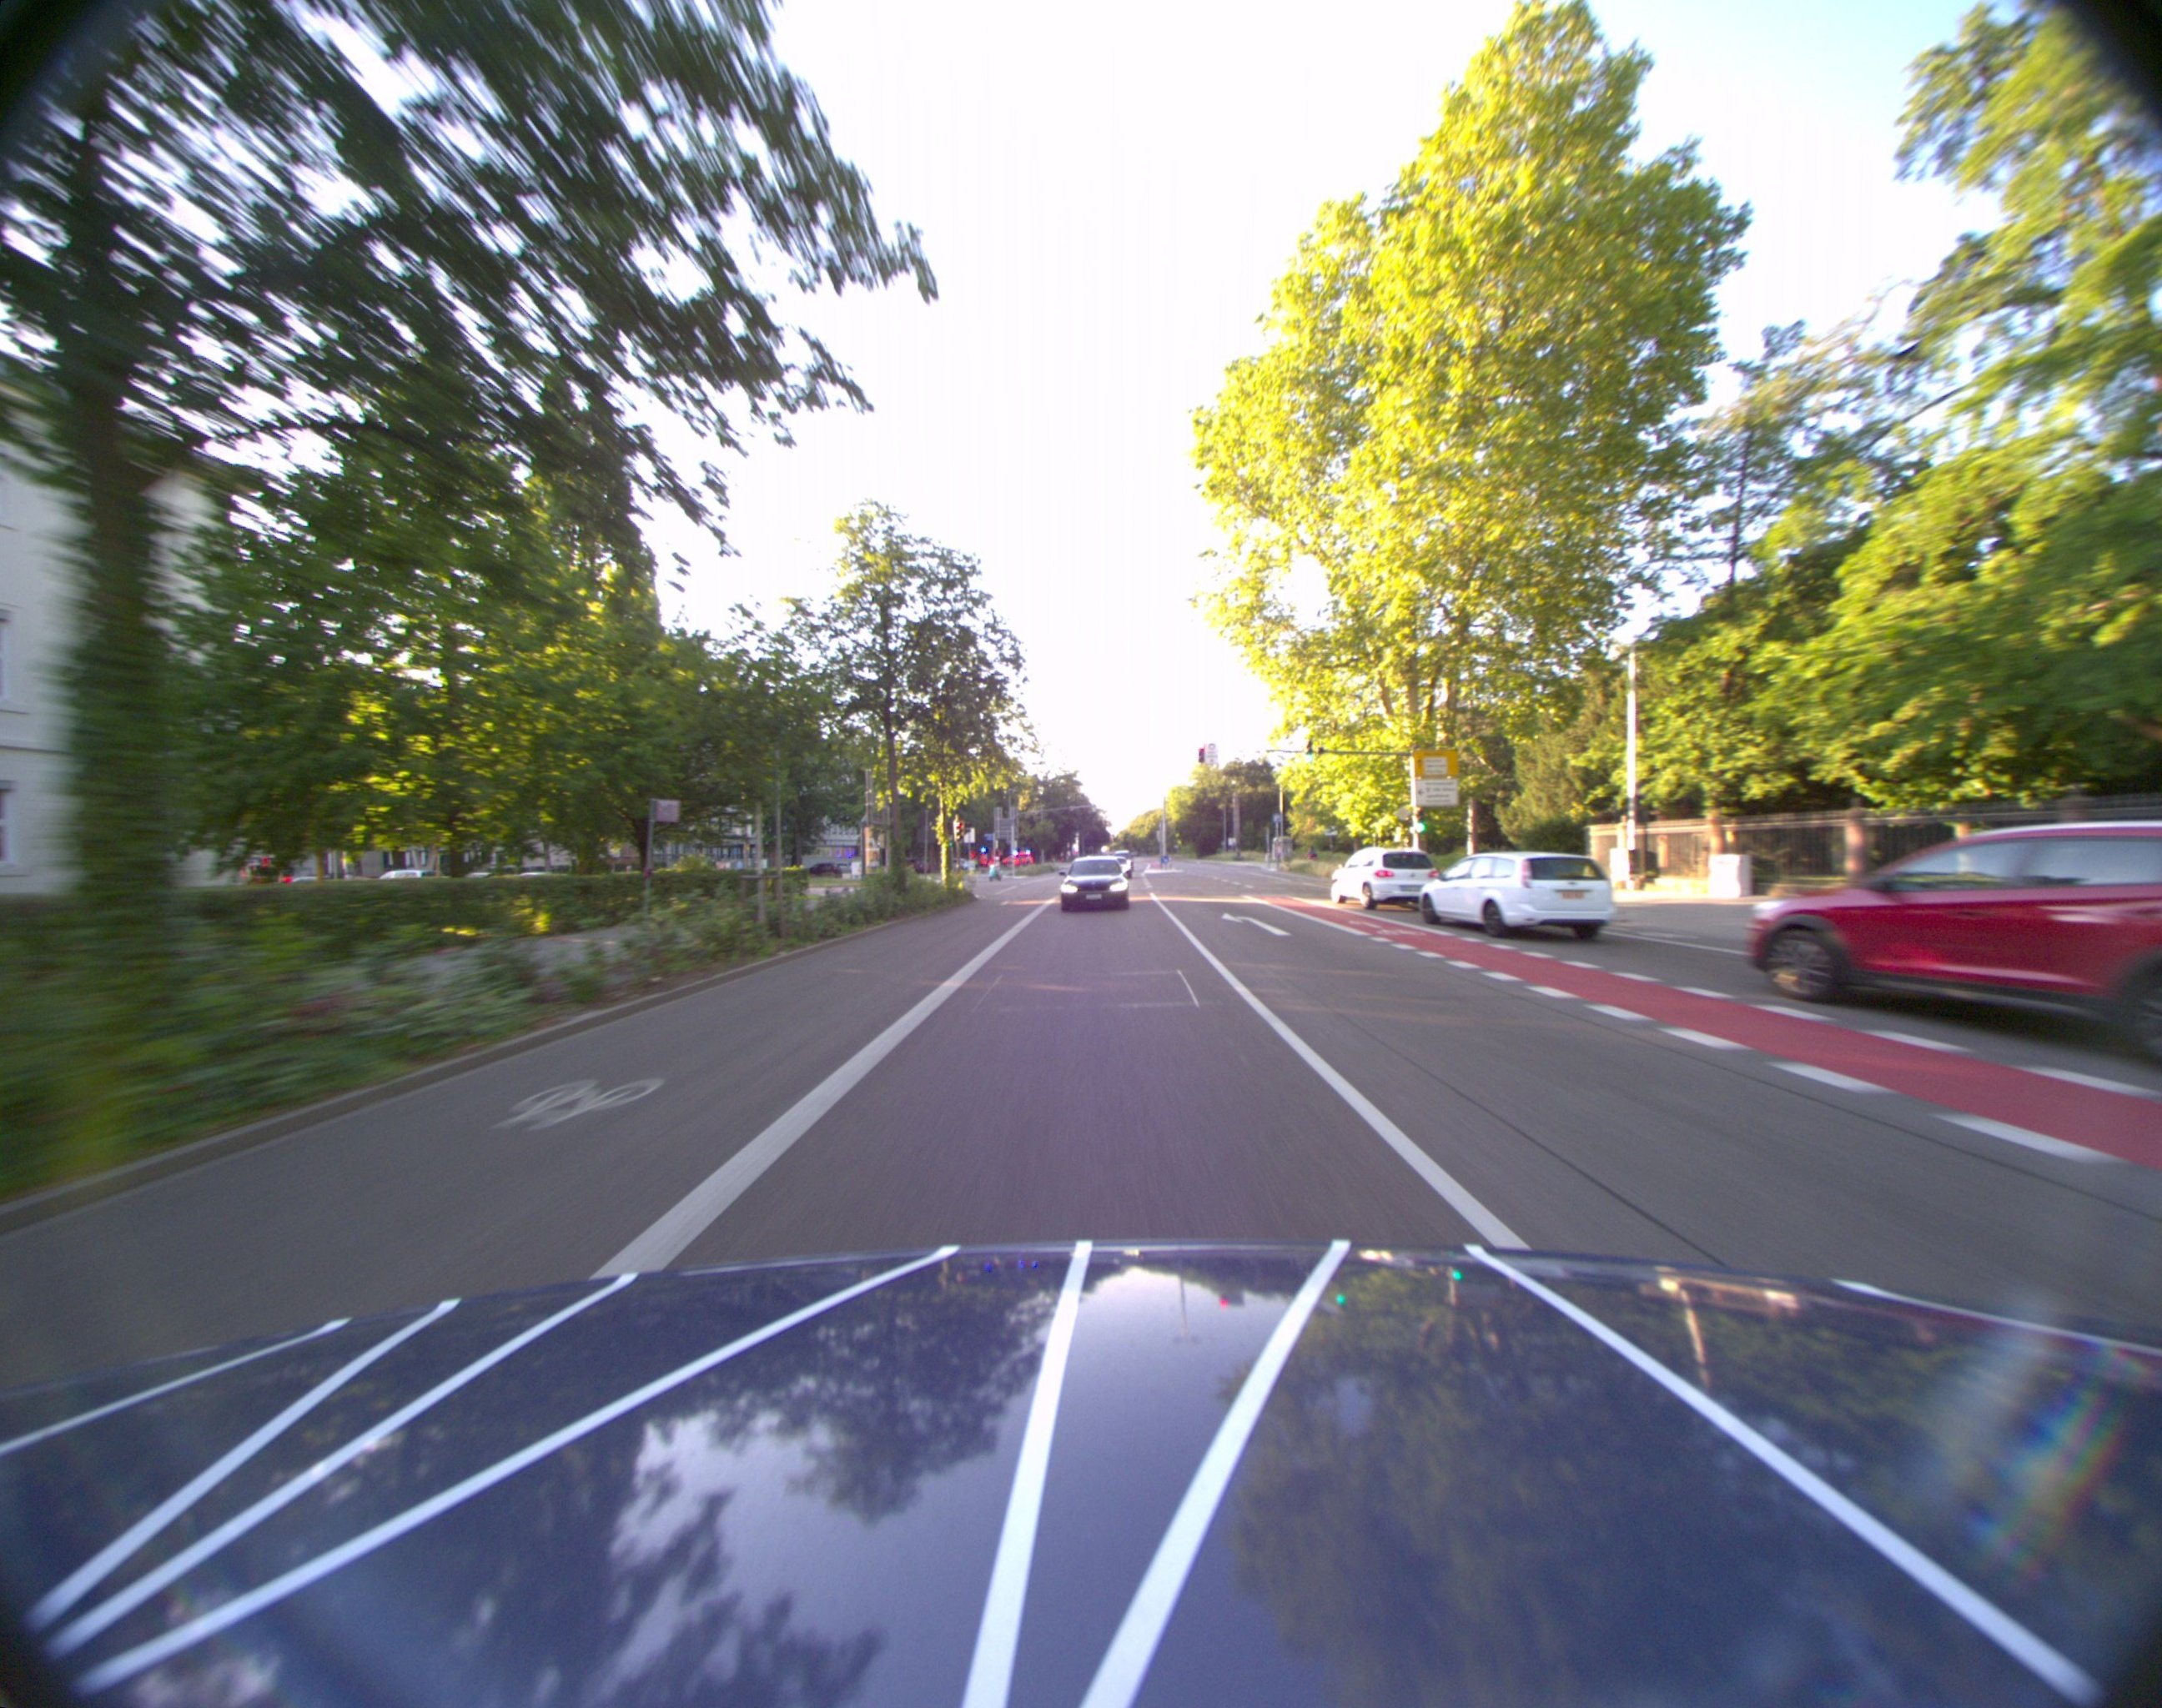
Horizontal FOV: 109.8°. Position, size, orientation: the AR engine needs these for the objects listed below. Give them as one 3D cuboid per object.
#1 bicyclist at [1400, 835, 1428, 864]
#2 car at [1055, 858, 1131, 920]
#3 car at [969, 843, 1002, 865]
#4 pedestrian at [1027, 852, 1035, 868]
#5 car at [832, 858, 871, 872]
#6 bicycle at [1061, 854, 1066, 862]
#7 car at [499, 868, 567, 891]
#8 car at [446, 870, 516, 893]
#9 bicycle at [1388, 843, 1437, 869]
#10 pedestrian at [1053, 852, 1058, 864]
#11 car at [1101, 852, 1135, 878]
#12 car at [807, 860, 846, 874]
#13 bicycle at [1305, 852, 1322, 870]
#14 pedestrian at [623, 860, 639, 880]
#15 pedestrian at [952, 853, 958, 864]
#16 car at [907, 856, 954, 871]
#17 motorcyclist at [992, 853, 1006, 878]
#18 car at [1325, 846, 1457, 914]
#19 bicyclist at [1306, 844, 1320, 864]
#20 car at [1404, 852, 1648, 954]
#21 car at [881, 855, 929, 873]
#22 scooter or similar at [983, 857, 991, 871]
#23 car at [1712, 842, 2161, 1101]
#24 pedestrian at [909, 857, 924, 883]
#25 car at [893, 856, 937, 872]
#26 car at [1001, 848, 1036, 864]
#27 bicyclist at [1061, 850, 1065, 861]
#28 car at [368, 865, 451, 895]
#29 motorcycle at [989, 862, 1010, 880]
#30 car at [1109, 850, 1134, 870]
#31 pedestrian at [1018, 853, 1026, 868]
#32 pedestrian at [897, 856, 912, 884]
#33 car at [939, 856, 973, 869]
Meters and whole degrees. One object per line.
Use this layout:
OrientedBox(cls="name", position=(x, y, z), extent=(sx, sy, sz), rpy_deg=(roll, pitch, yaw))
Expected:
OrientedBox(cls="bicyclist", position=(18.537, -0.256, 42.321), extent=(0.859, 1.425, 0.939), rpy_deg=(-4, 14, -41))
OrientedBox(cls="car", position=(0.444, 0.886, 21.296), extent=(1.817, 1.391, 5.214), rpy_deg=(-3, 0, 3))
OrientedBox(cls="car", position=(-15.363, -0.039, 122.804), extent=(2.769, 3.225, 8.304), rpy_deg=(-1, 0, 12))
OrientedBox(cls="pedestrian", position=(-5.223, 0.642, 79.153), extent=(0.721, 1.650, 0.776), rpy_deg=(-1, 1, -2))
OrientedBox(cls="car", position=(-26.876, 1.328, 89.185), extent=(3.910, 1.513, 1.919), rpy_deg=(-1, 1, 14))
OrientedBox(cls="bicycle", position=(-2.866, 0.645, 122.188), extent=(0.571, 1.233, 1.899), rpy_deg=(-1, 0, 5))
OrientedBox(cls="car", position=(-41.172, 1.918, 57.108), extent=(3.993, 1.630, 1.902), rpy_deg=(-1, 1, 12))
OrientedBox(cls="car", position=(-45.727, 2.096, 57.927), extent=(3.993, 1.602, 2.002), rpy_deg=(-1, 1, 11))
OrientedBox(cls="bicycle", position=(18.491, 0.106, 42.430), extent=(0.859, 1.011, 2.188), rpy_deg=(-4, 14, -41))
OrientedBox(cls="pedestrian", position=(-3.555, 0.588, 106.370), extent=(0.682, 1.613, 0.689), rpy_deg=(-1, 0, 5))
OrientedBox(cls="car", position=(2.219, 0.640, 45.510), extent=(1.850, 1.346, 4.704), rpy_deg=(-4, 0, 3))
OrientedBox(cls="car", position=(-28.085, 1.415, 83.801), extent=(3.623, 1.451, 1.771), rpy_deg=(-1, 1, 7))
OrientedBox(cls="bicycle", position=(16.781, 0.478, 54.905), extent=(0.791, 1.249, 1.980), rpy_deg=(-1, 1, 5))
OrientedBox(cls="pedestrian", position=(-39.736, 1.403, 67.093), extent=(0.894, 1.729, 0.705), rpy_deg=(-1, 1, 14))
OrientedBox(cls="pedestrian", position=(-20.404, 0.693, 123.228), extent=(0.682, 1.831, 0.846), rpy_deg=(-1, 0, 6))
OrientedBox(cls="car", position=(-16.187, 1.059, 81.946), extent=(4.514, 1.455, 1.920), rpy_deg=(-1, 1, 8))
OrientedBox(cls="motorcyclist", position=(-5.755, 0.832, 53.321), extent=(0.739, 1.727, 0.691), rpy_deg=(-2, 0, 19))
OrientedBox(cls="car", position=(8.450, 0.645, 21.189), extent=(1.921, 1.686, 4.426), rpy_deg=(0, 0, 1))
OrientedBox(cls="bicyclist", position=(16.765, 0.026, 54.874), extent=(0.791, 1.419, 0.892), rpy_deg=(-1, 1, 5))
OrientedBox(cls="car", position=(7.975, 0.756, 14.264), extent=(1.921, 1.574, 4.674), rpy_deg=(0, 0, 1))
OrientedBox(cls="car", position=(-17.599, 0.989, 76.173), extent=(4.232, 1.730, 1.920), rpy_deg=(-1, 1, 11))
OrientedBox(cls="scooter or similar", position=(-8.671, 0.900, 69.945), extent=(0.441, 1.264, 1.179), rpy_deg=(-1, 1, 5))
OrientedBox(cls="car", position=(7.731, 0.731, 5.865), extent=(1.921, 1.615, 4.639), rpy_deg=(0, 0, 1))
OrientedBox(cls="pedestrian", position=(-10.387, 1.032, 47.907), extent=(0.682, 1.613, 0.845), rpy_deg=(-1, 0, 5))
OrientedBox(cls="car", position=(-17.209, 1.032, 78.987), extent=(3.993, 1.601, 1.920), rpy_deg=(-1, 1, 12))
OrientedBox(cls="car", position=(-9.892, 0.333, 119.827), extent=(5.162, 2.379, 2.001), rpy_deg=(-1, 1, 8))
OrientedBox(cls="bicyclist", position=(-2.897, 0.219, 121.998), extent=(0.571, 1.623, 1.038), rpy_deg=(-1, 1, 5))
OrientedBox(cls="car", position=(-49.218, 1.905, 55.748), extent=(4.490, 1.851, 2.057), rpy_deg=(-4, 0, 9))
OrientedBox(cls="motorcycle", position=(-5.738, 1.165, 53.319), extent=(0.683, 1.190, 1.896), rpy_deg=(-2, 0, 19))
OrientedBox(cls="car", position=(3.232, 0.452, 61.037), extent=(1.850, 1.473, 4.704), rpy_deg=(-4, 0, 3))
OrientedBox(cls="pedestrian", position=(-6.134, 0.671, 79.331), extent=(0.737, 1.514, 0.789), rpy_deg=(-1, 1, 0))
OrientedBox(cls="pedestrian", position=(-11.140, 0.987, 47.973), extent=(0.682, 1.744, 0.689), rpy_deg=(-1, 0, 5))
OrientedBox(cls="car", position=(-15.039, 0.964, 91.307), extent=(3.660, 1.451, 1.665), rpy_deg=(-1, 1, 10))
